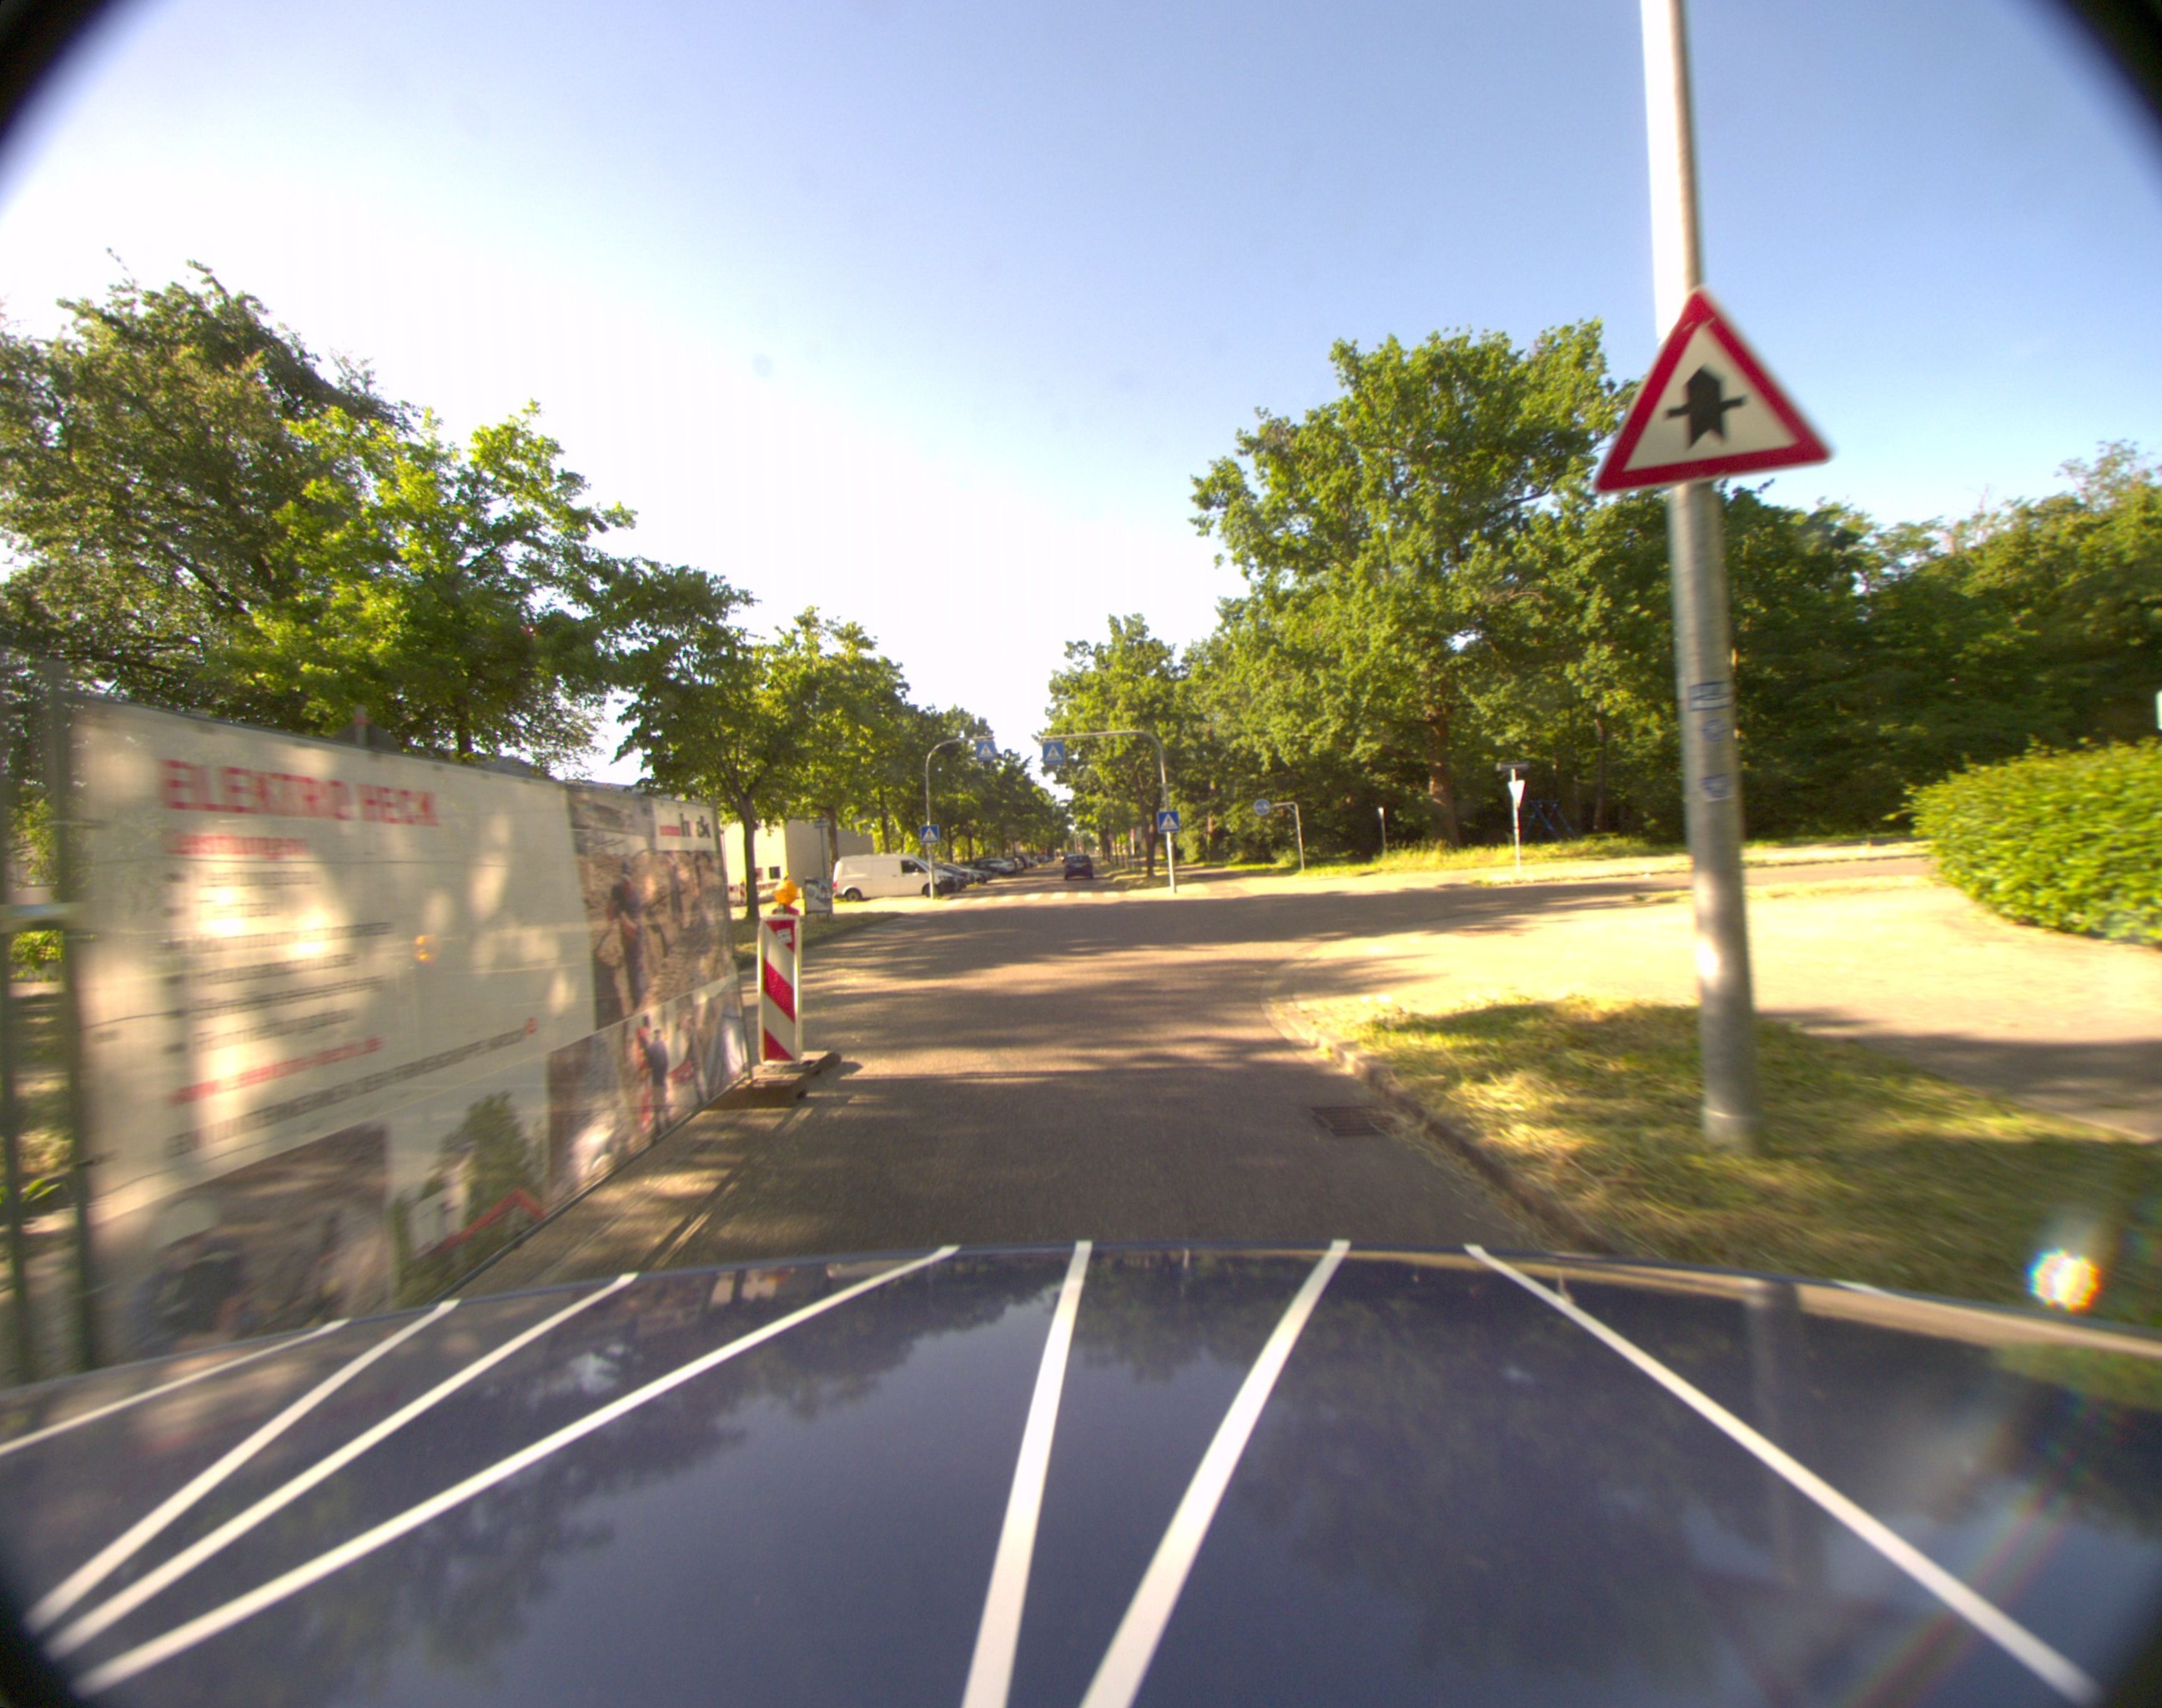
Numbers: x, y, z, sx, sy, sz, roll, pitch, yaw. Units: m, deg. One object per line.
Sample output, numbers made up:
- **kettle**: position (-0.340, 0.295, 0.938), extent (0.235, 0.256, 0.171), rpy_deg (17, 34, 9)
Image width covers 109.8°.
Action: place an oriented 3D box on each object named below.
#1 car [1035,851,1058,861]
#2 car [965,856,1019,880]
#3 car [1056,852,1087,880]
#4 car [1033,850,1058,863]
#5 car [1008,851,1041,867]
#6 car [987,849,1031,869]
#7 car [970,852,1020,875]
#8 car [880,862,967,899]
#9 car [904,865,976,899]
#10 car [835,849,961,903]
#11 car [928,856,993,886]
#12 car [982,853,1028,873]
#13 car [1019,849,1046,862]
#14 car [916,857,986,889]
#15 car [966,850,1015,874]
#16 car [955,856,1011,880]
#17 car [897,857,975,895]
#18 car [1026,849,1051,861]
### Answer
- **car**: position (-6.479, 0.364, 143.035), extent (4.151, 1.401, 1.800), rpy_deg (-5, 1, 1)
- **car**: position (-7.810, 1.187, 66.800), extent (4.395, 1.733, 1.533), rpy_deg (-5, 1, 2)
- **car**: position (-0.578, 0.746, 48.442), extent (1.826, 1.615, 4.492), rpy_deg (-2, 0, 0)
- **car**: position (-6.243, 0.416, 132.952), extent (4.151, 1.838, 1.949), rpy_deg (-5, 1, 1)
- **car**: position (-7.464, 0.630, 100.720), extent (3.997, 1.838, 1.863), rpy_deg (-5, 1, 1)
- **car**: position (-7.604, 0.563, 80.429), extent (4.395, 1.733, 1.533), rpy_deg (-5, 1, 2)
- **car**: position (-8.004, 0.887, 70.972), extent (4.395, 1.733, 1.533), rpy_deg (-5, 1, 2)
- **car**: position (-8.088, 1.346, 39.222), extent (3.996, 1.554, 1.757), rpy_deg (-5, 1, 2)
- **car**: position (-7.664, 1.519, 41.520), extent (3.516, 1.533, 1.448), rpy_deg (-5, 1, 2)
- **car**: position (-8.081, 0.955, 33.867), extent (5.046, 2.069, 1.890), rpy_deg (-3, 1, 0)
- **car**: position (-8.190, 1.133, 51.667), extent (4.019, 1.650, 1.533), rpy_deg (-5, 1, 2)
- **car**: position (-7.810, 0.913, 78.064), extent (4.395, 1.733, 1.533), rpy_deg (-5, 1, 2)
- **car**: position (-7.764, 0.252, 121.672), extent (4.151, 1.838, 1.949), rpy_deg (-5, 1, 1)
- **car**: position (-8.301, 1.196, 48.663), extent (4.019, 1.669, 1.533), rpy_deg (-5, 1, 2)
- **car**: position (-8.839, 0.791, 74.219), extent (4.395, 1.977, 1.533), rpy_deg (-5, 1, 2)
- **car**: position (-8.199, 1.176, 63.770), extent (4.395, 1.632, 1.533), rpy_deg (-5, 1, 2)
- **car**: position (-8.384, 1.258, 44.081), extent (4.019, 1.783, 1.713), rpy_deg (-5, 1, 2)
- **car**: position (-7.672, 0.163, 138.011), extent (4.151, 1.838, 1.949), rpy_deg (-5, 1, 1)
